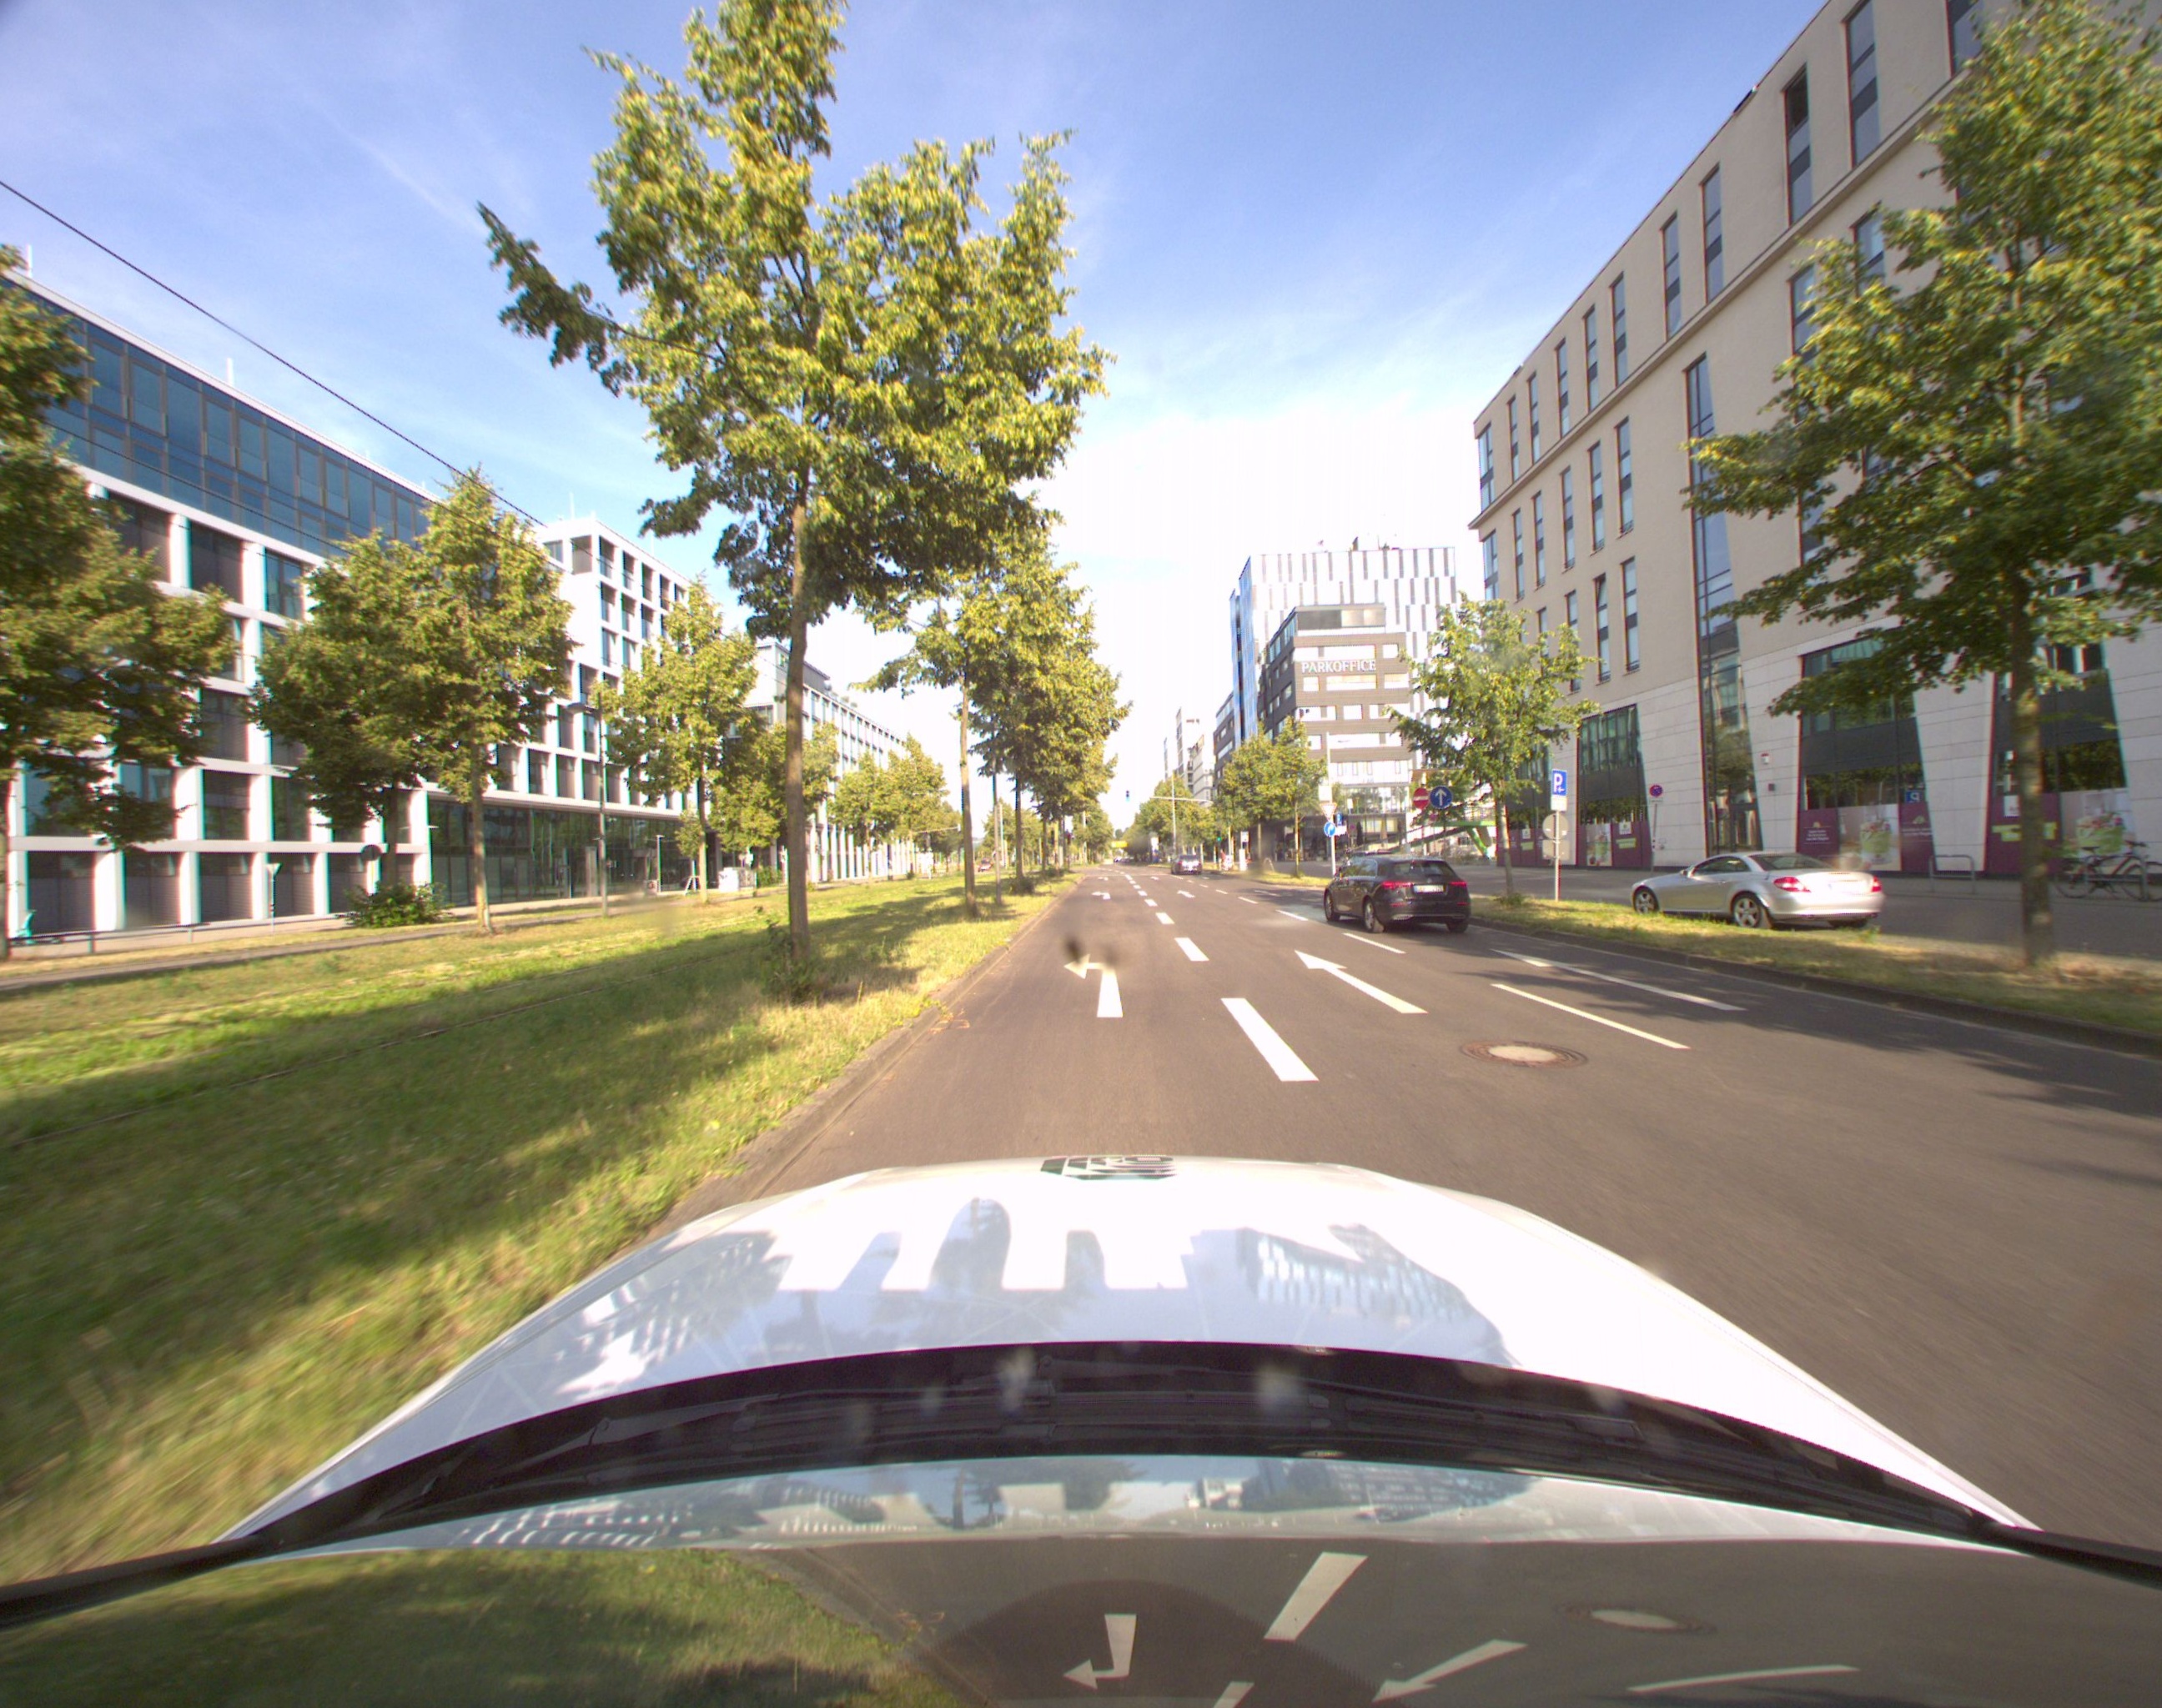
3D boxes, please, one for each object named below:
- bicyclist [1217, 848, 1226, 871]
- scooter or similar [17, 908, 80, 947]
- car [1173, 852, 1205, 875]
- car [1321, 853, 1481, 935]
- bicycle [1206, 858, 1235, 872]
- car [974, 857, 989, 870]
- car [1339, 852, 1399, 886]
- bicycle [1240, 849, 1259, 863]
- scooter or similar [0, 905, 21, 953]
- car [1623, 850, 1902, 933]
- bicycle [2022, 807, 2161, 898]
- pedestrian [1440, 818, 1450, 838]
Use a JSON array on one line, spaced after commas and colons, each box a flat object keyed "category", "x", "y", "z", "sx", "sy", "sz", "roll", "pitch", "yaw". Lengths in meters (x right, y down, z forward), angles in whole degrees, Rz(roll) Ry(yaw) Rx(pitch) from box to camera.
[{"category": "bicyclist", "x": 10.719, "y": 0.411, "z": 61.972, "sx": 0.573, "sy": 1.707, "sz": 0.540, "roll": 0, "pitch": -1, "yaw": -4}, {"category": "scooter or similar", "x": -35.287, "y": 2.499, "z": 27.852, "sx": 0.333, "sy": 1.226, "sz": 1.304, "roll": -1, "pitch": -1, "yaw": 15}, {"category": "car", "x": 7.436, "y": 0.651, "z": 56.594, "sx": 1.852, "sy": 1.524, "sz": 3.787, "roll": 0, "pitch": -1, "yaw": 2}, {"category": "car", "x": 6.186, "y": 0.717, "z": 16.246, "sx": 1.767, "sy": 1.424, "sz": 3.963, "roll": 0, "pitch": -1, "yaw": 2}, {"category": "bicycle", "x": 10.606, "y": 0.853, "z": 61.959, "sx": 2.128, "sy": 1.013, "sz": 0.571, "roll": 0, "pitch": -1, "yaw": -3}, {"category": "car", "x": -13.452, "y": 1.301, "z": 110.446, "sx": 1.679, "sy": 1.775, "sz": 3.879, "roll": 0, "pitch": -1, "yaw": -2}, {"category": "car", "x": 12.456, "y": 0.625, "z": 35.464, "sx": 1.598, "sy": 1.370, "sz": 4.165, "roll": -1, "pitch": -1, "yaw": 7}, {"category": "bicycle", "x": 22.420, "y": 0.262, "z": 108.266, "sx": 2.419, "sy": 1.746, "sz": 0.556, "roll": -1, "pitch": -1, "yaw": 11}, {"category": "scooter or similar", "x": -35.084, "y": 2.395, "z": 26.063, "sx": 1.919, "sy": 1.477, "sz": 0.415, "roll": 0, "pitch": -1, "yaw": 5}, {"category": "car", "x": 11.684, "y": 0.593, "z": 14.372, "sx": 1.702, "sy": 1.242, "sz": 3.906, "roll": 0, "pitch": -1, "yaw": 1}, {"category": "bicycle", "x": 19.021, "y": -0.016, "z": 15.102, "sx": 0.553, "sy": 1.571, "sz": 2.277, "roll": 0, "pitch": -1, "yaw": 3}, {"category": "pedestrian", "x": 31.843, "y": -2.281, "z": 71.222, "sx": 0.688, "sy": 1.692, "sz": 0.790, "roll": -1, "pitch": -1, "yaw": 15}]
